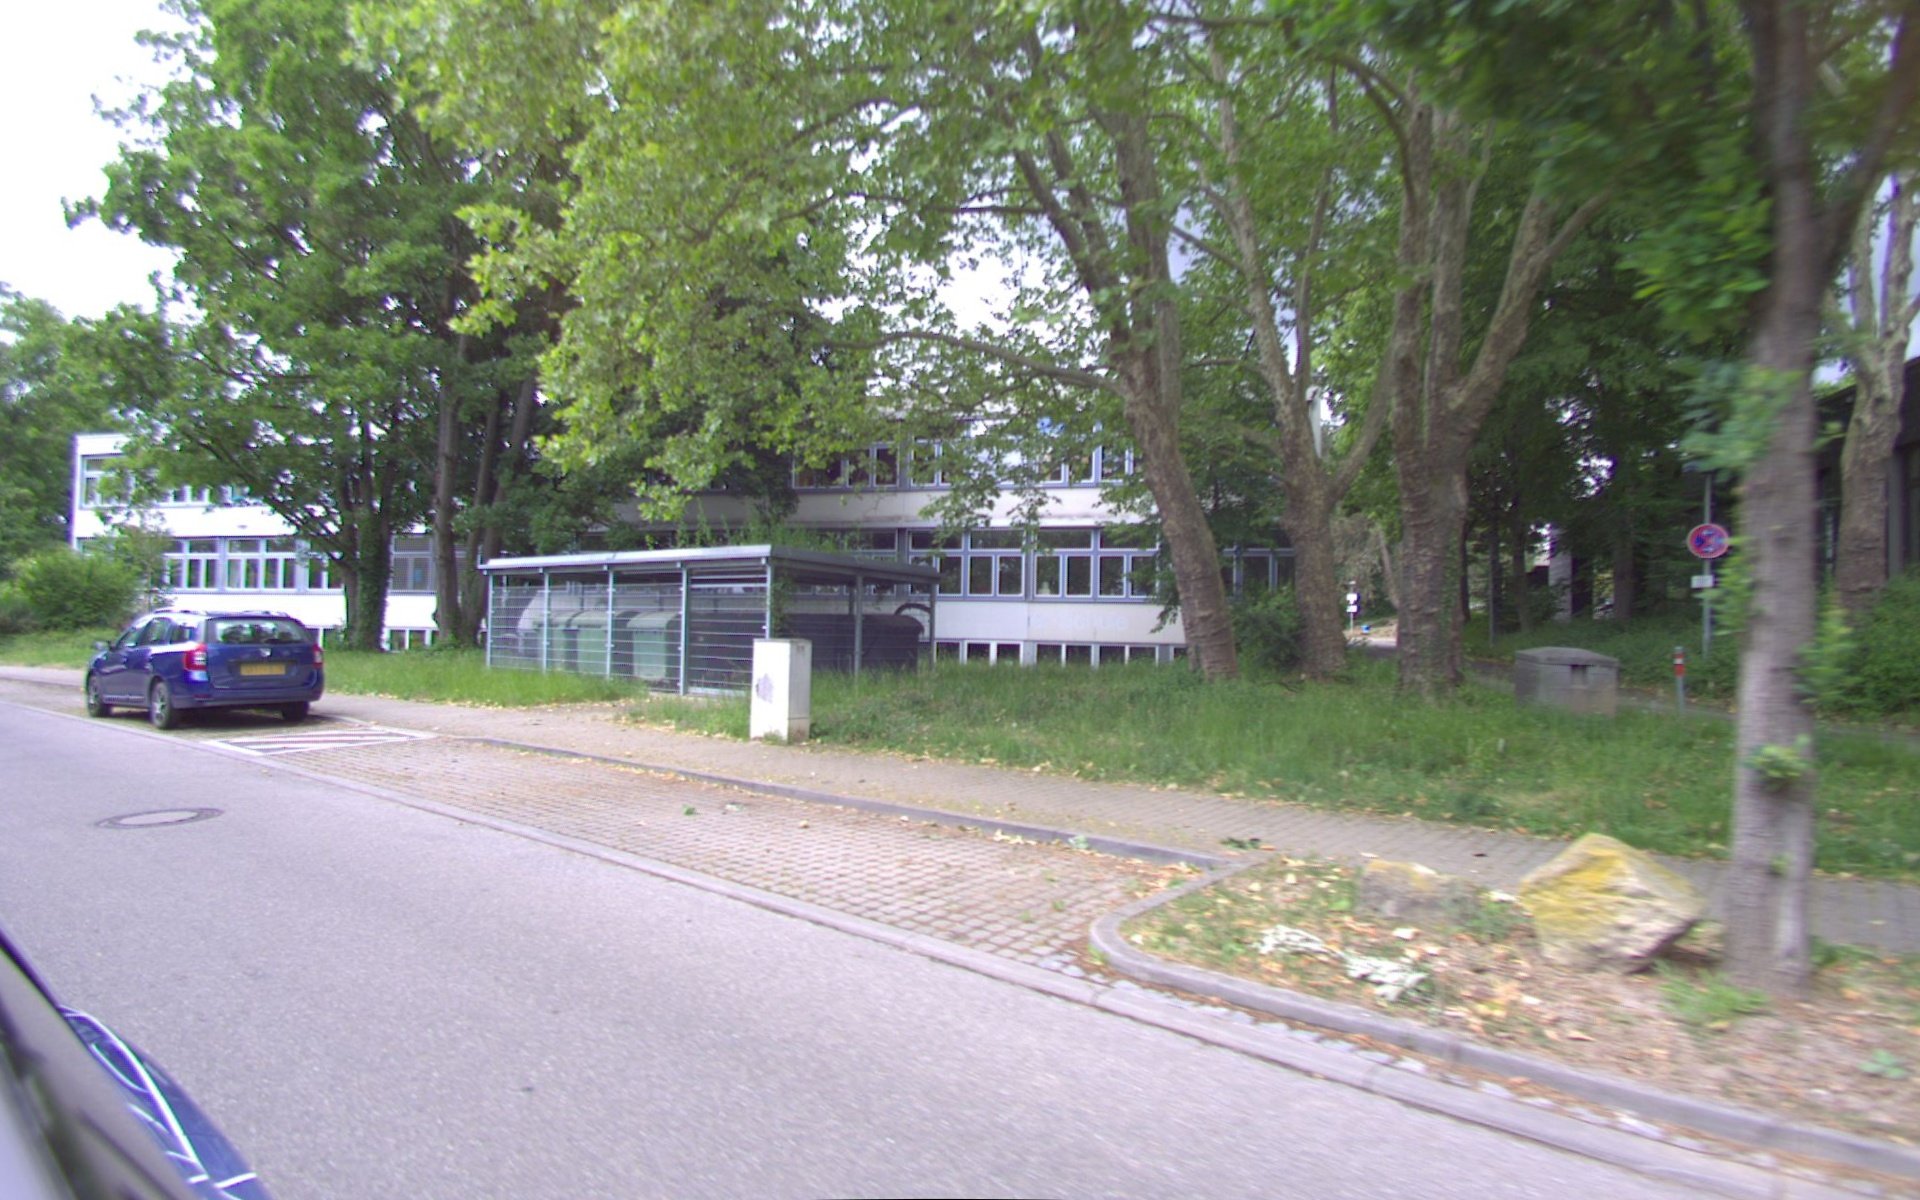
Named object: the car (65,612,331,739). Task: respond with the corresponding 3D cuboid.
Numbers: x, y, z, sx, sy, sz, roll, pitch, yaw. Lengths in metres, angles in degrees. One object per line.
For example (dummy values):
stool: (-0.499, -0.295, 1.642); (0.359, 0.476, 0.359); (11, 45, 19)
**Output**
car: (-10.698, 0.972, 14.110); (4.420, 1.523, 1.665); (-1, -2, 35)
